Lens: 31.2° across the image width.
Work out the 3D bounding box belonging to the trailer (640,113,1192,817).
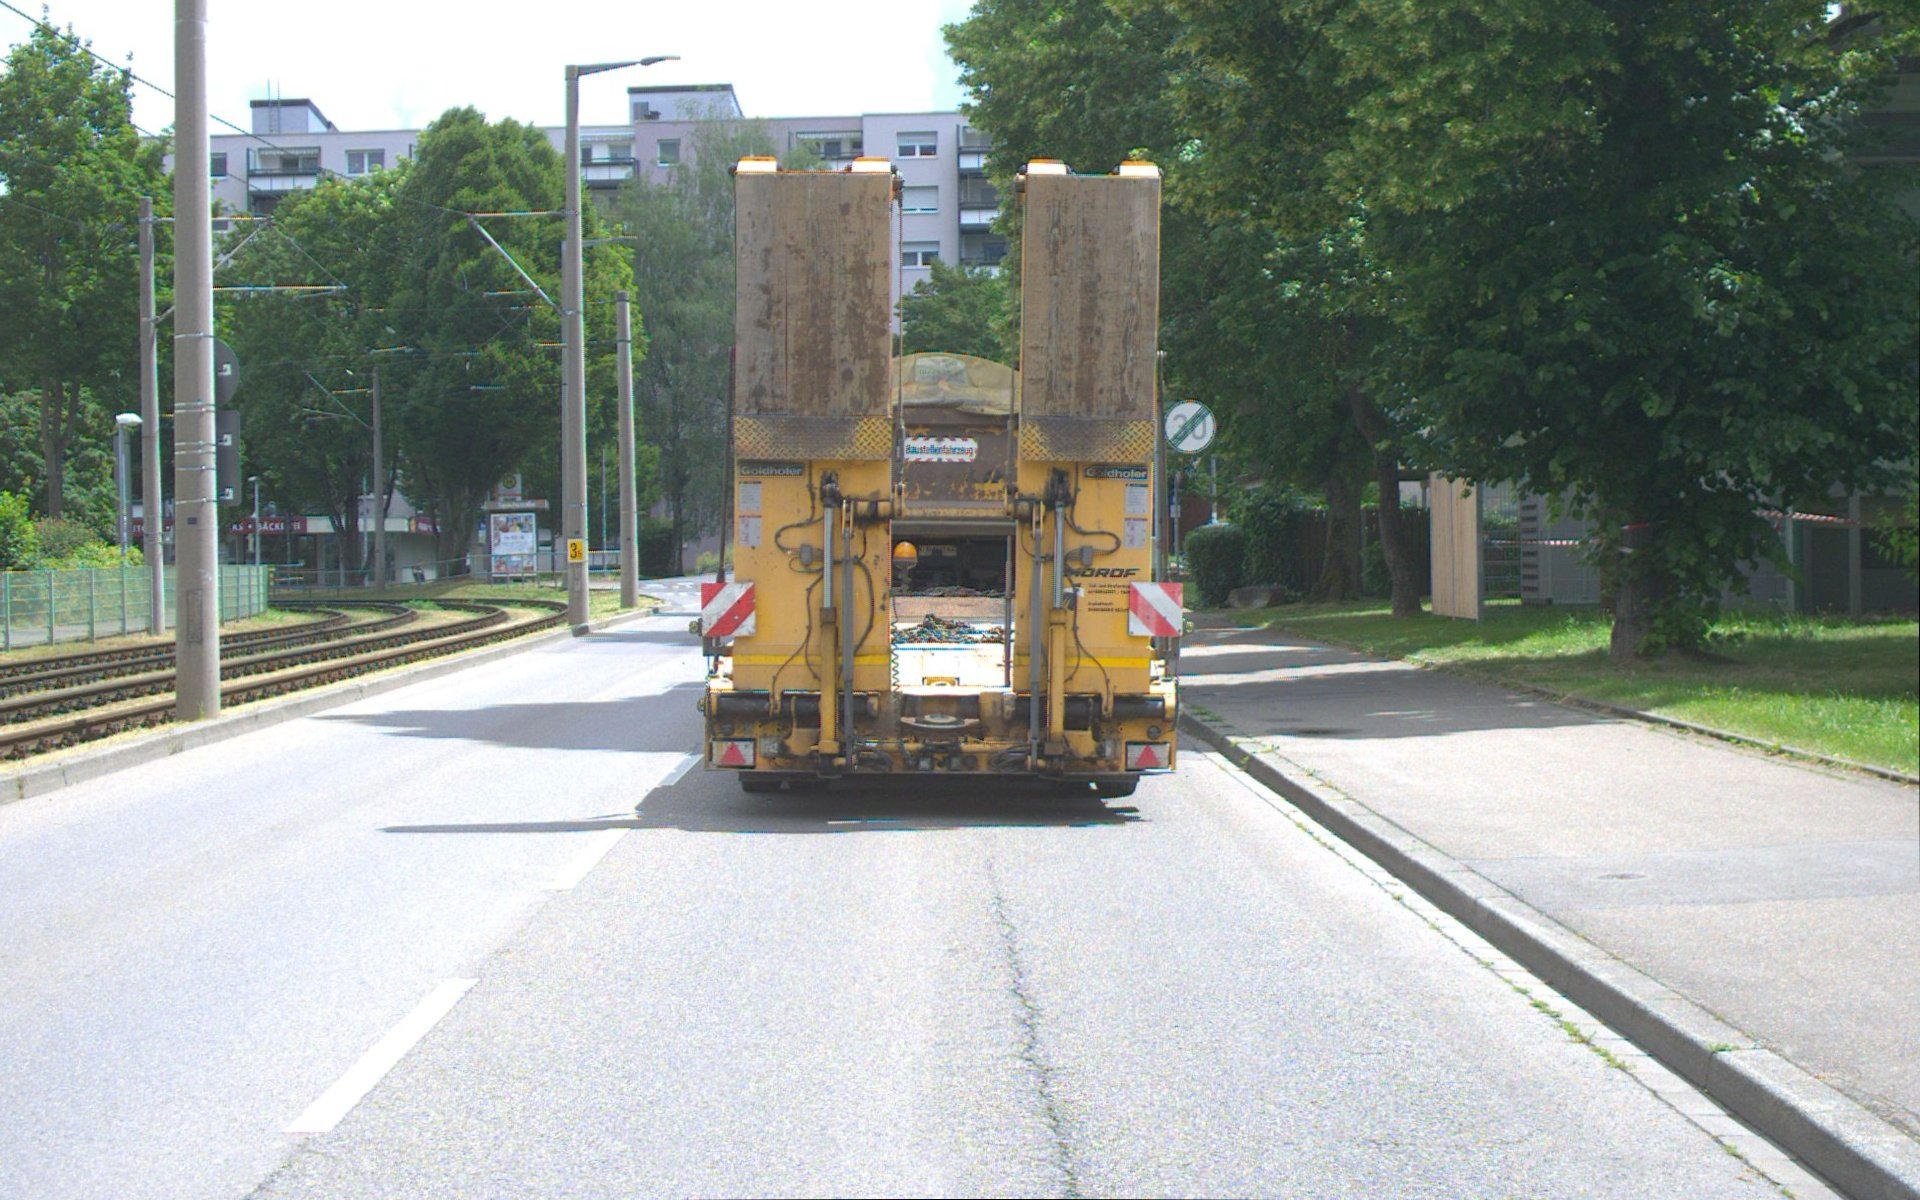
[{"bbox_3d":[-0.393,-0.824,24.120,2.827,3.633,12.355,1,1,-2],"label":"trailer"}]

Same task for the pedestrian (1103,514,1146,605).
[{"bbox_3d":[3.122,-0.779,65.413,0.718,1.700,0.766,-2,1,-1],"label":"pedestrian"}]
